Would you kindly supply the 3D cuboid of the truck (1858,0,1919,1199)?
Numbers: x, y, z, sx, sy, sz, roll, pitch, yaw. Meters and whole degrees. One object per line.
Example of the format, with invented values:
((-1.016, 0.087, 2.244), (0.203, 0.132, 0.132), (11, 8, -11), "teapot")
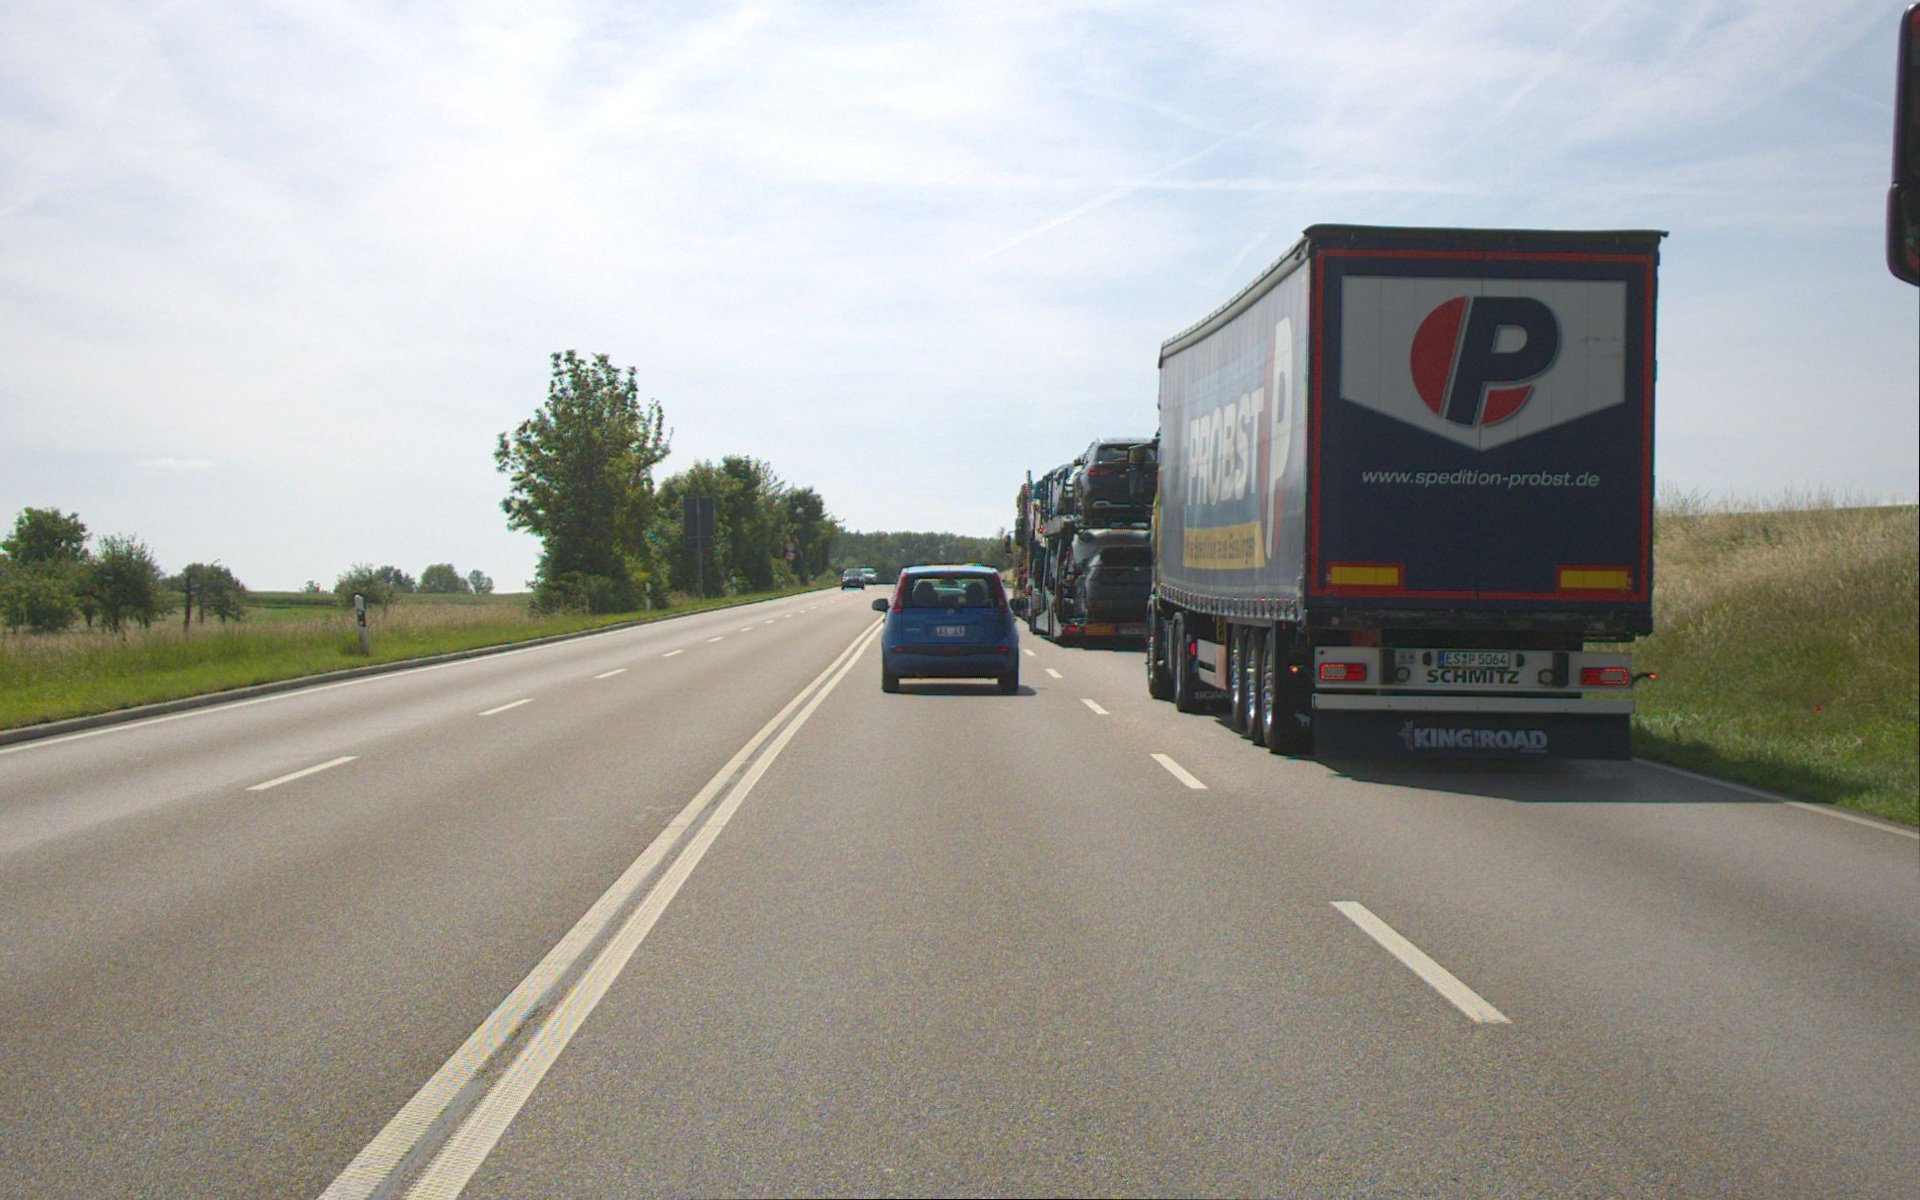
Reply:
((3.946, -0.534, 0.149), (3.007, 4.166, 16.715), (1, 1, -1), "truck")

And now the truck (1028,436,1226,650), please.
((3.246, -1.139, 72.136), (3.047, 3.897, 18.398), (1, 1, -1), "truck")

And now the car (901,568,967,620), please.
((-0.737, -0.182, 95.981), (1.703, 1.371, 4.604), (1, 1, -2), "car")

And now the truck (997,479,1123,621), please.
((2.863, -1.469, 104.163), (3.047, 3.897, 18.398), (1, 1, -1), "truck")

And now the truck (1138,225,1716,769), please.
((3.774, -0.820, 32.607), (3.047, 3.897, 15.616), (1, 1, -1), "truck")

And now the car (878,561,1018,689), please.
((-0.114, 0.276, 43.132), (1.632, 1.526, 3.915), (0, 1, 1), "car")
